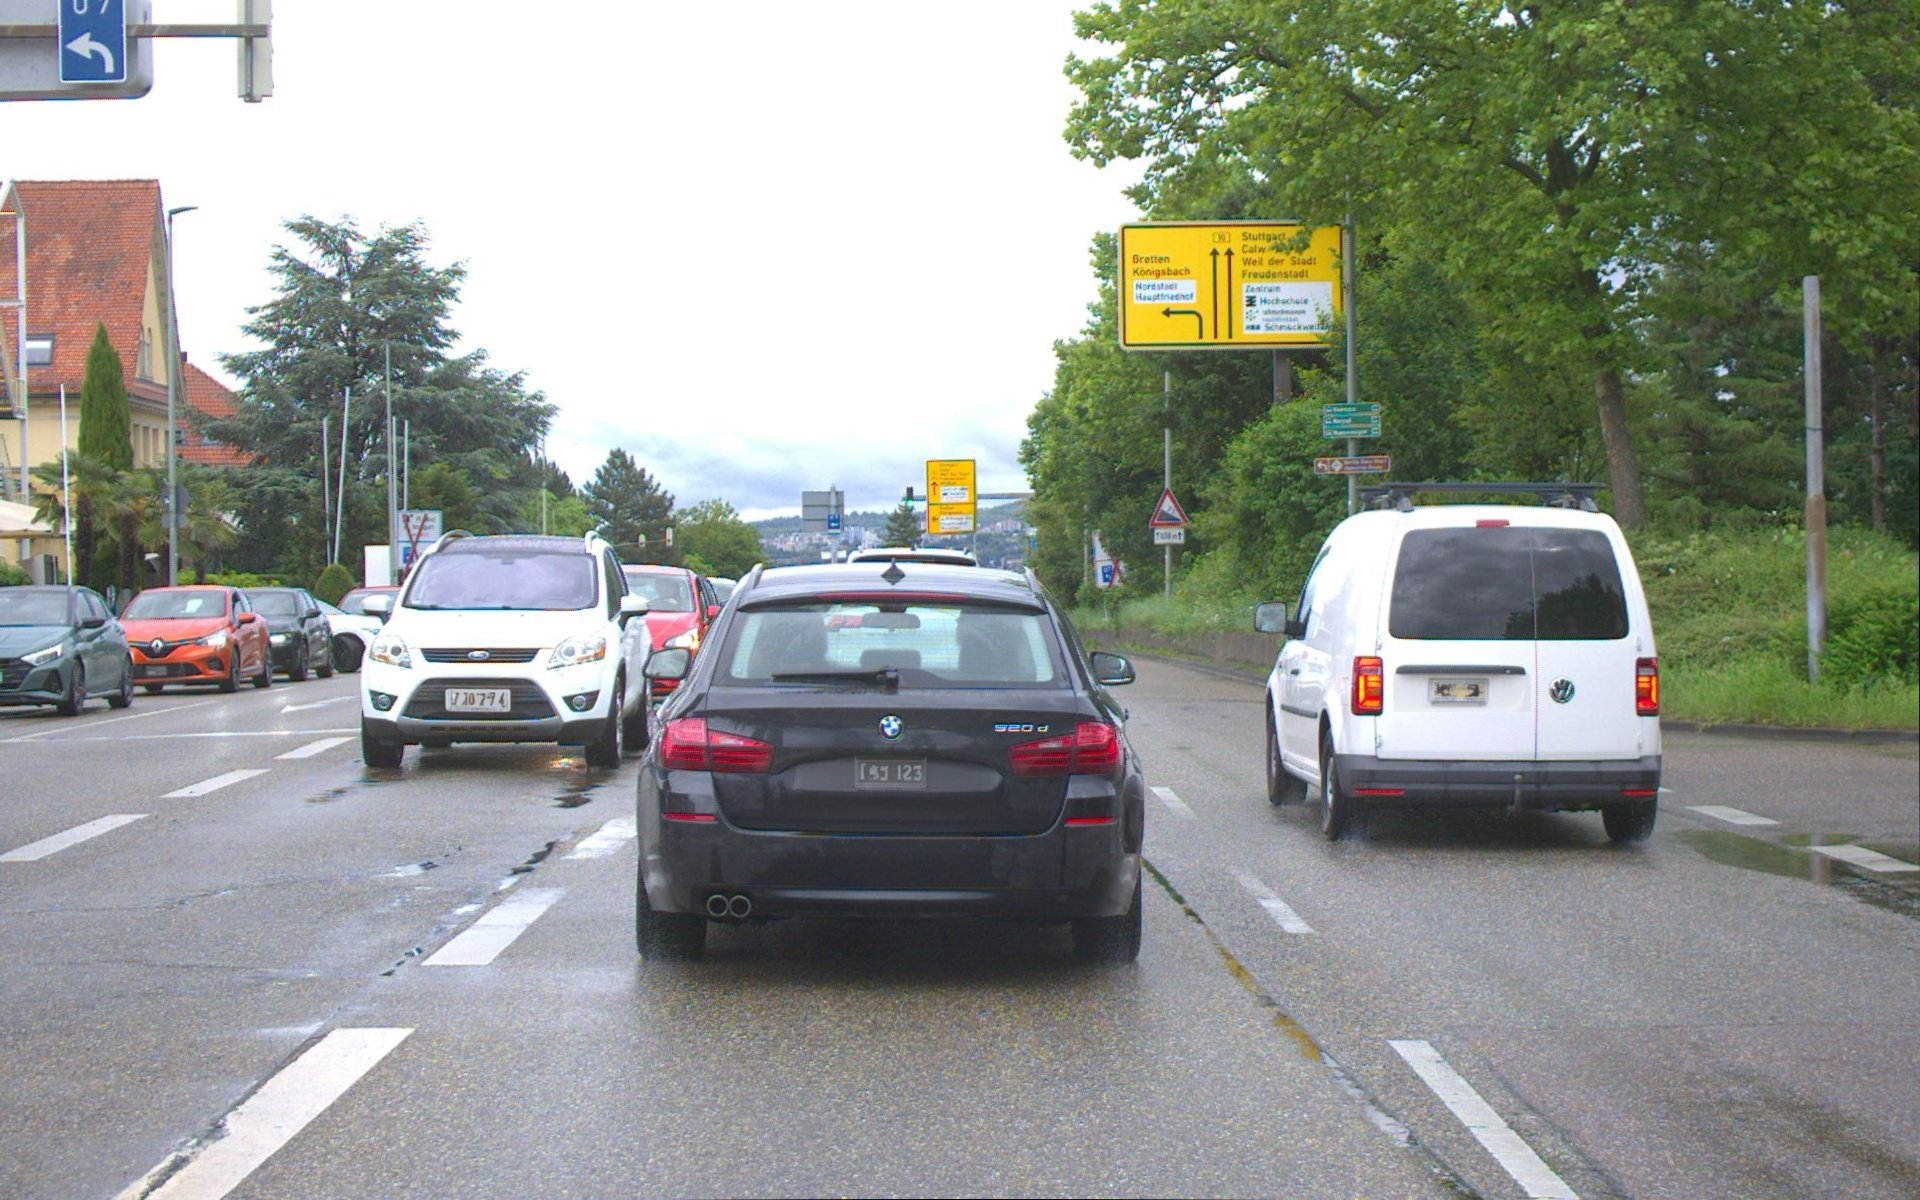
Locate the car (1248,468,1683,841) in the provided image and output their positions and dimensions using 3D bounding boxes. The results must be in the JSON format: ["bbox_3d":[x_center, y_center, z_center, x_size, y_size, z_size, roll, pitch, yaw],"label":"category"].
[{"bbox_3d":[2.717,0.227,19.288,1.764,1.871,3.806,1,2,-1],"label":"car"}]

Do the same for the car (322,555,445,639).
[{"bbox_3d":[-11.102,-0.073,66.452,1.770,1.563,4.000,0,1,-1],"label":"car"}]

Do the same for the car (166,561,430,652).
[{"bbox_3d":[-11.096,0.108,57.716,4.033,1.472,1.642,-1,0,9],"label":"car"}]

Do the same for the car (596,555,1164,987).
[{"bbox_3d":[-0.283,0.567,13.574,1.899,1.437,4.000,1,0,0],"label":"car"}]

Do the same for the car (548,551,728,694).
[{"bbox_3d":[-3.394,0.232,36.790,1.632,1.429,4.144,0,0,-1],"label":"car"}]

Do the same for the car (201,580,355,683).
[{"bbox_3d":[-10.350,0.451,52.426,1.601,1.395,4.406,-2,1,-2],"label":"car"}]

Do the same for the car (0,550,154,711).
[{"bbox_3d":[-10.153,0.300,37.774,1.676,1.612,4.000,-1,1,-1],"label":"car"}]

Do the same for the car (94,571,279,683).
[{"bbox_3d":[-10.186,0.324,45.508,1.622,1.327,3.947,-2,1,-1],"label":"car"}]

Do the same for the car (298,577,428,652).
[{"bbox_3d":[-10.197,0.222,58.921,1.622,1.145,3.856,-2,1,-1],"label":"car"}]

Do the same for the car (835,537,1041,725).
[{"bbox_3d":[-0.217,0.244,33.460,1.868,1.668,4.000,1,2,0],"label":"car"}]

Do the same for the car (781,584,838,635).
[{"bbox_3d":[-5.363,0.332,122.845,1.868,1.668,4.000,1,2,0],"label":"car"}]

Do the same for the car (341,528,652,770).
[{"bbox_3d":[-3.354,0.292,25.625,1.839,1.644,4.298,0,1,-2],"label":"car"}]
